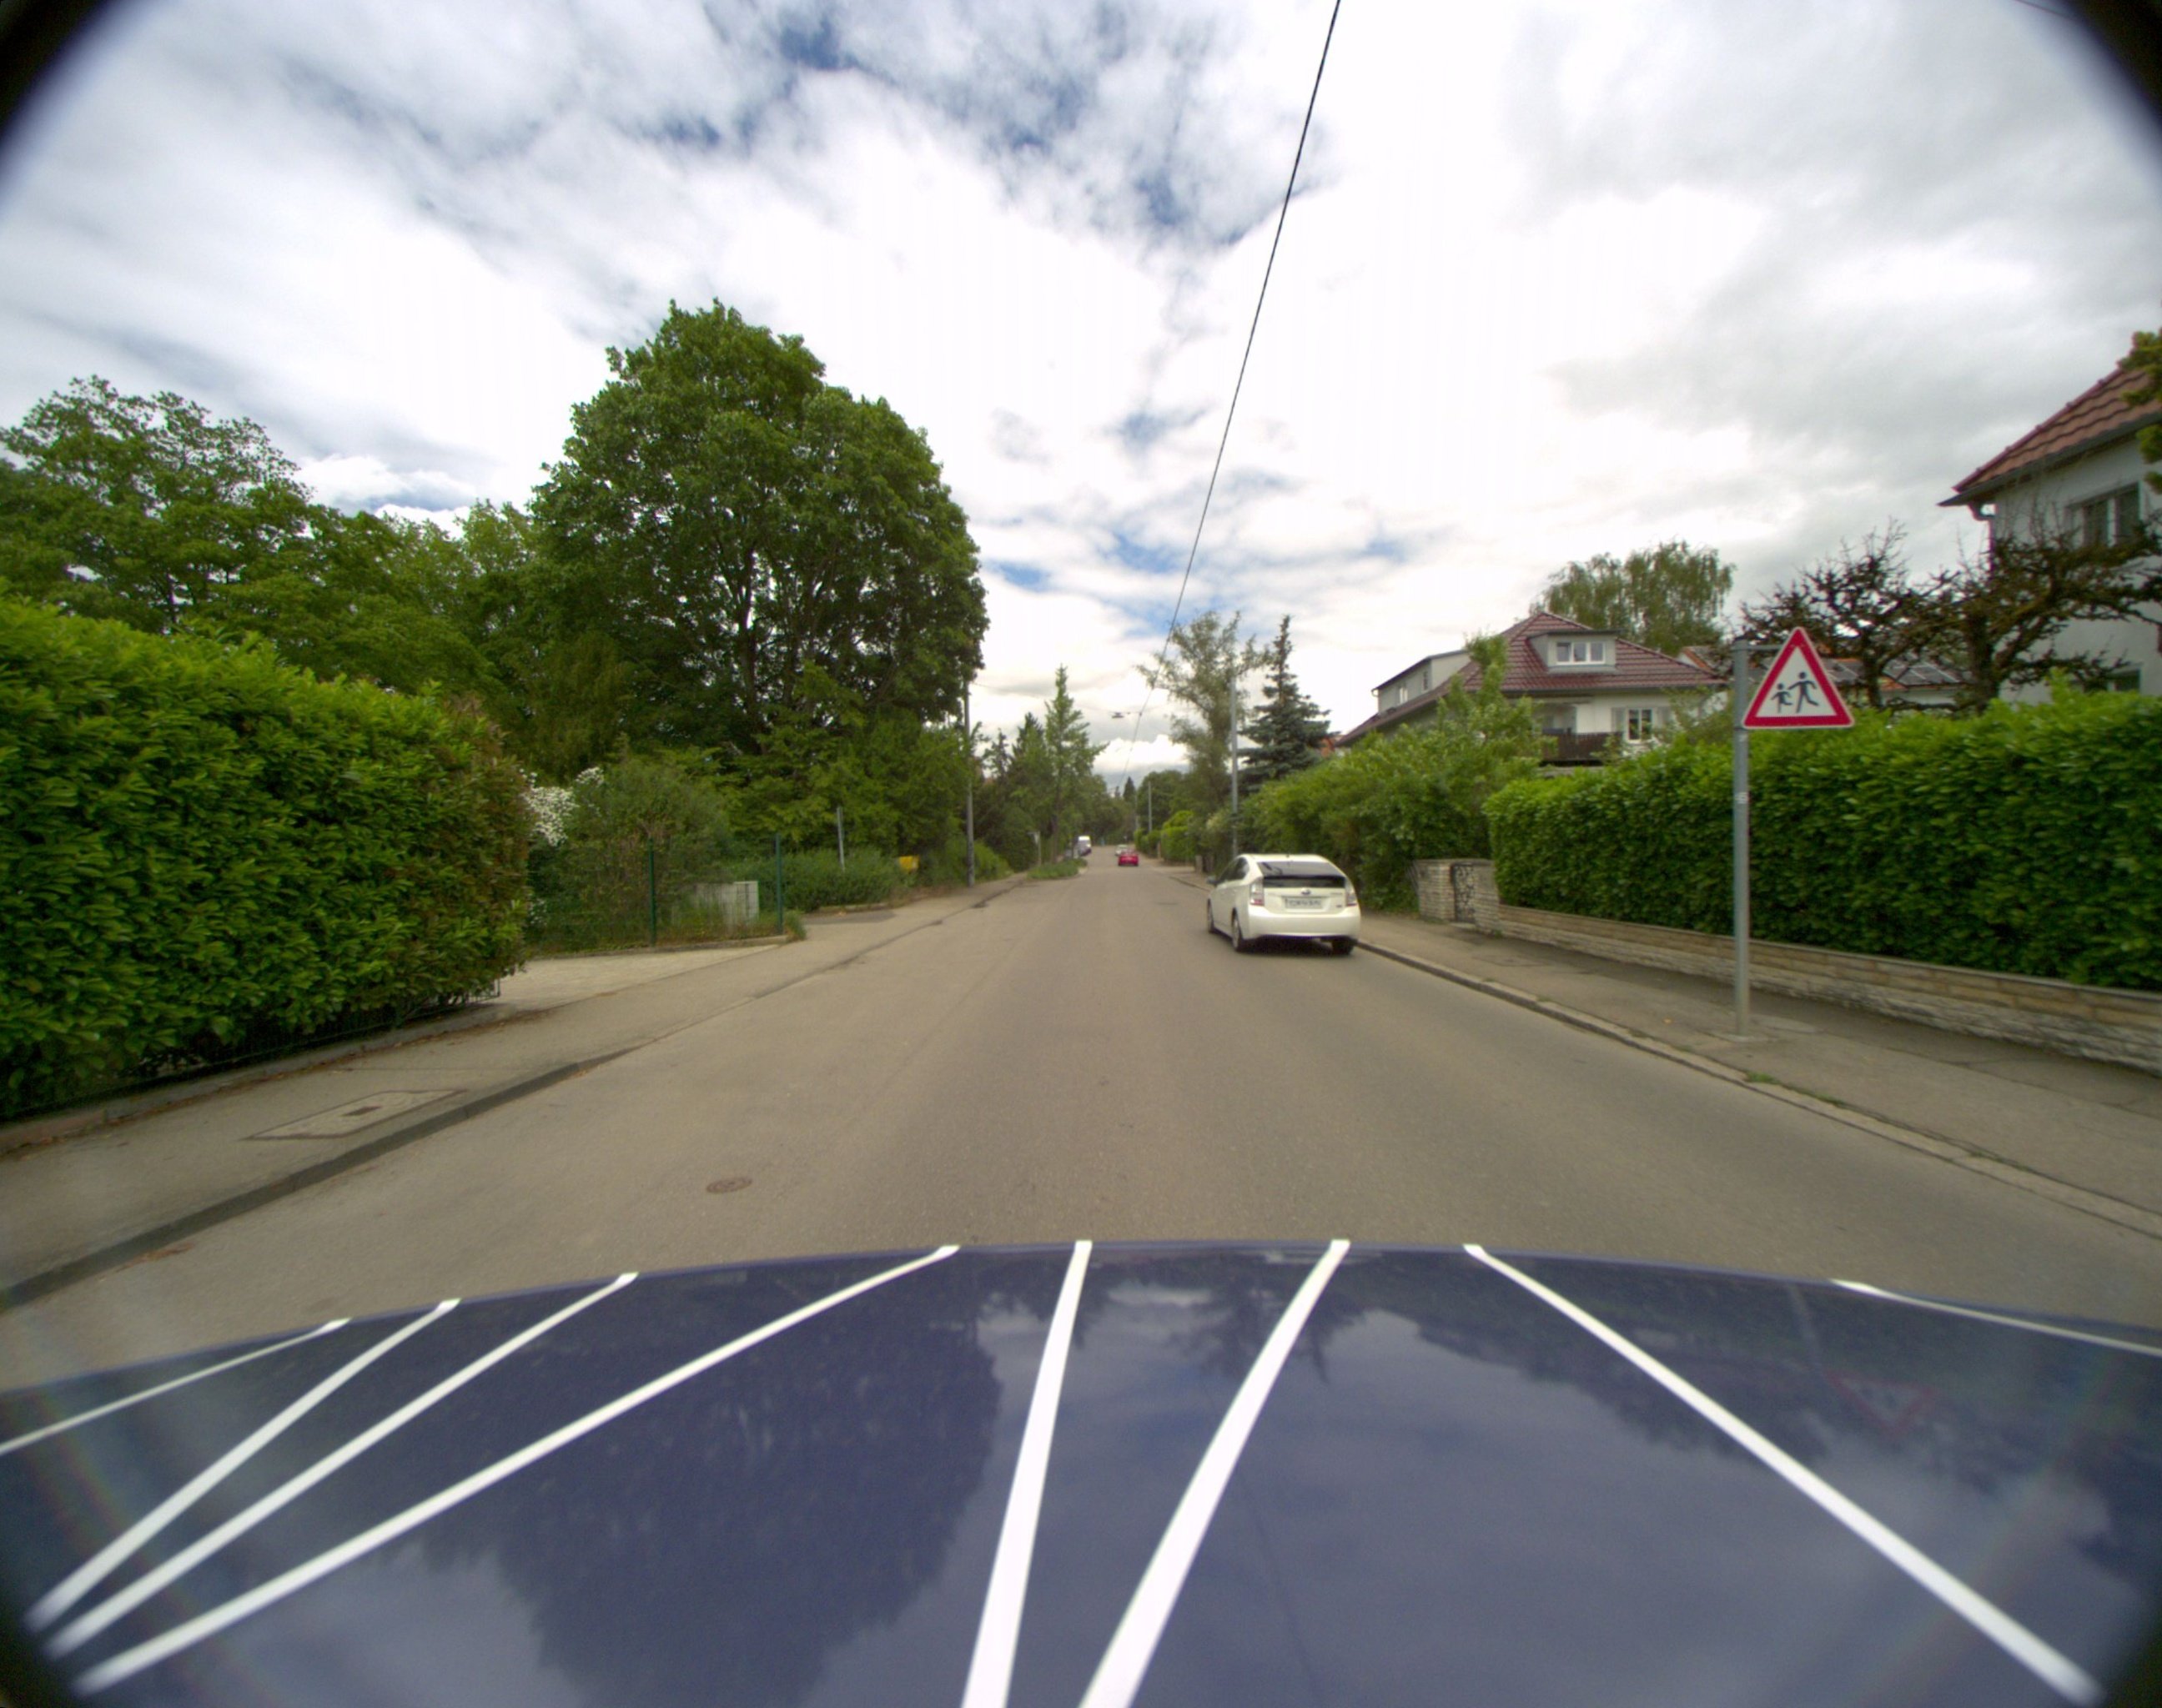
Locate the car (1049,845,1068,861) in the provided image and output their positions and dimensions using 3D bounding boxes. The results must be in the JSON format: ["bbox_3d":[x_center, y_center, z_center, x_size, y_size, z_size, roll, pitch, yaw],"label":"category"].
[{"bbox_3d":[-2.204,-0.122,76.059,1.627,1.464,3.739,-2,1,2],"label":"car"}]

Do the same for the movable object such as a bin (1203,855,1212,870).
[{"bbox_3d":[7.781,0.521,46.736,0.379,0.946,0.512,-4,1,-1],"label":"movable object such as a bin"}]

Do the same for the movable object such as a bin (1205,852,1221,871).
[{"bbox_3d":[7.992,0.443,46.096,0.729,1.119,0.722,-4,1,-1],"label":"movable object such as a bin"}]

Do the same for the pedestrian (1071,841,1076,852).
[{"bbox_3d":[-1.154,-1.182,114.555,0.671,1.689,0.917,0,2,-5],"label":"pedestrian"}]

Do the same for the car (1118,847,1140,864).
[{"bbox_3d":[4.386,0.131,69.703,1.810,1.423,4.118,2,1,1],"label":"car"}]

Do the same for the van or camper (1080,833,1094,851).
[{"bbox_3d":[0.935,-1.944,119.041,2.046,2.605,7.036,-2,2,0],"label":"van or camper"}]

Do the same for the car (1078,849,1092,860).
[{"bbox_3d":[0.588,0.052,103.894,1.682,1.399,4.054,-2,1,3],"label":"car"}]

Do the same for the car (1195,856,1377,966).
[{"bbox_3d":[3.144,0.791,12.603,1.859,1.443,4.281,1,0,0],"label":"car"}]

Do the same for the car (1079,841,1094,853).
[{"bbox_3d":[0.834,-1.047,109.639,1.893,1.572,4.764,1,2,2],"label":"car"}]

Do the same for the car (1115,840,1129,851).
[{"bbox_3d":[5.460,-1.183,101.879,1.810,1.423,4.300,0,1,1],"label":"car"}]
